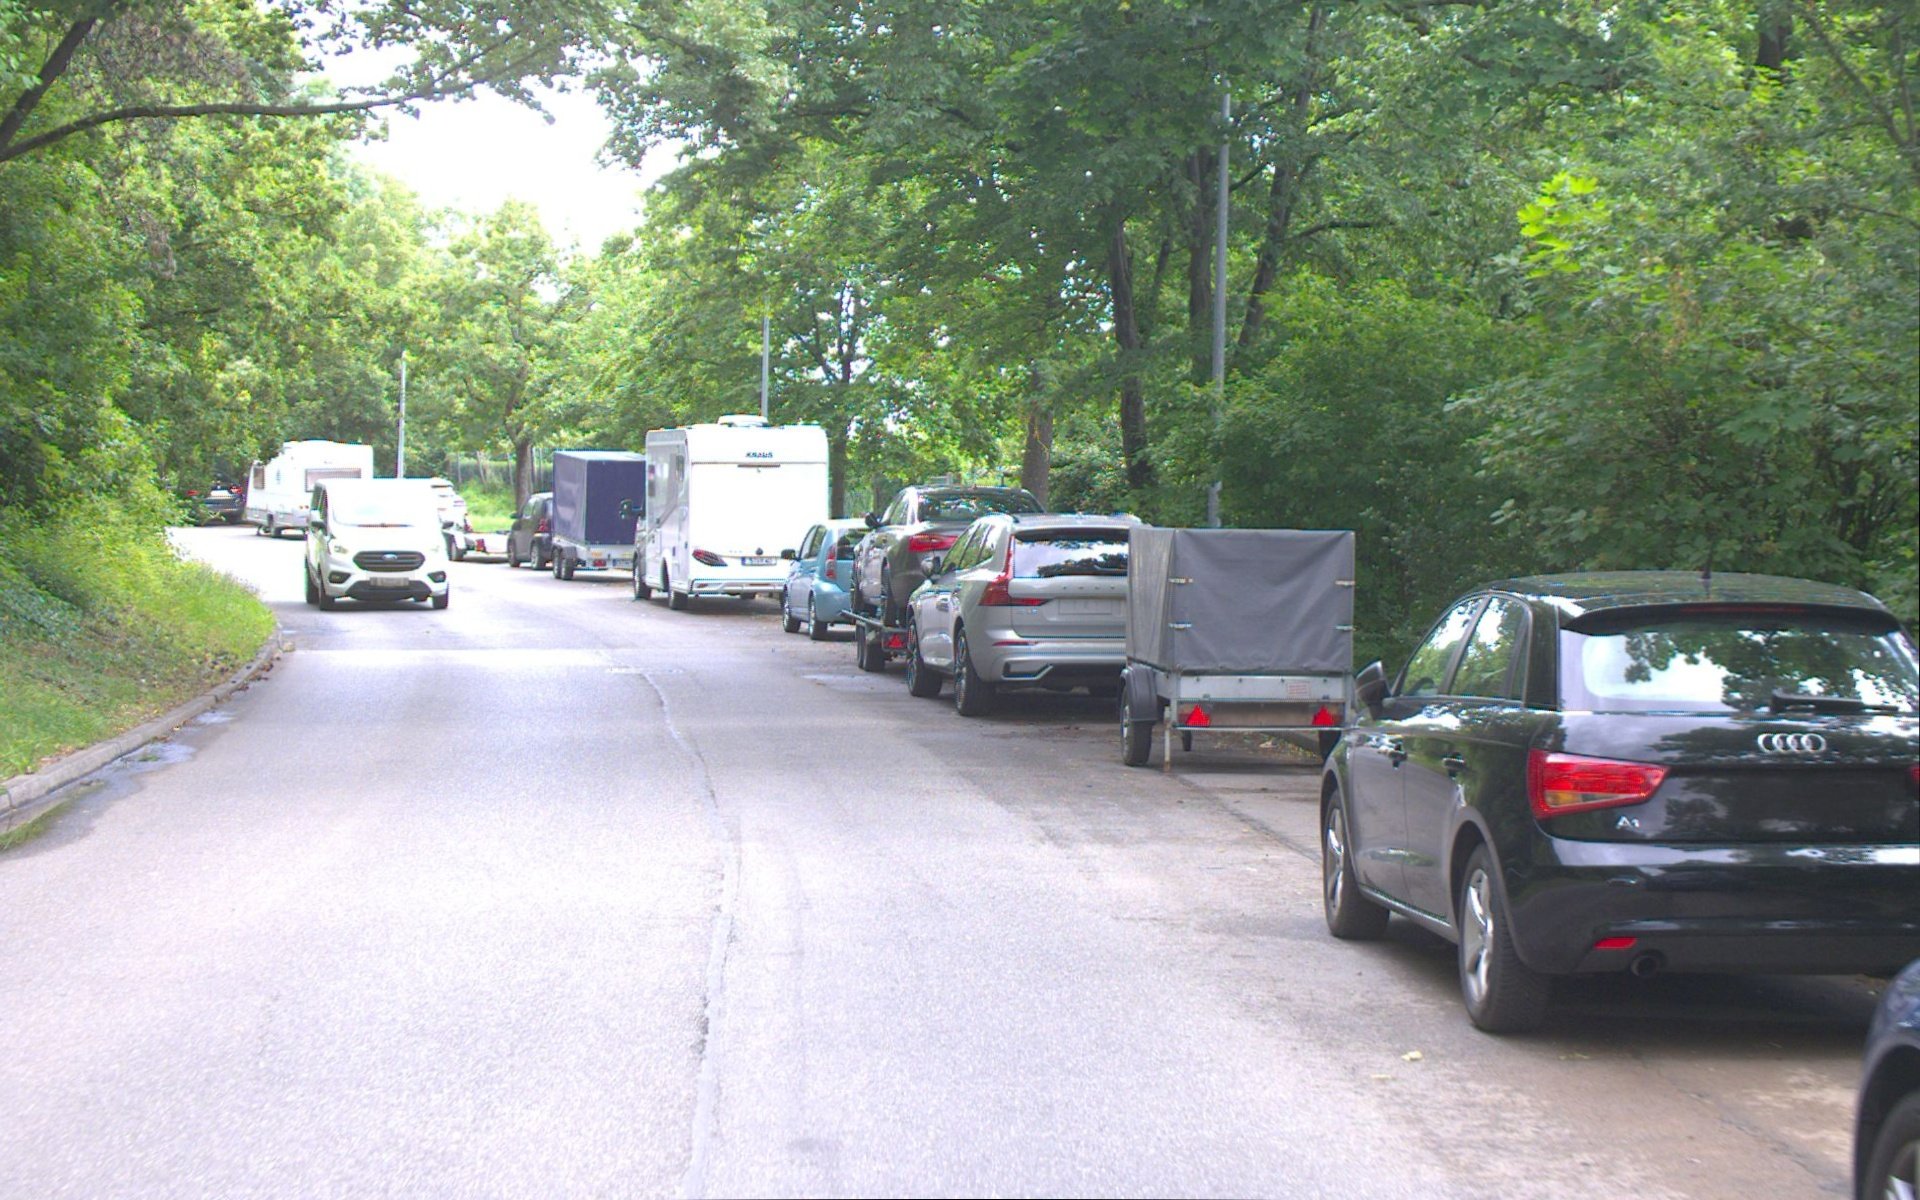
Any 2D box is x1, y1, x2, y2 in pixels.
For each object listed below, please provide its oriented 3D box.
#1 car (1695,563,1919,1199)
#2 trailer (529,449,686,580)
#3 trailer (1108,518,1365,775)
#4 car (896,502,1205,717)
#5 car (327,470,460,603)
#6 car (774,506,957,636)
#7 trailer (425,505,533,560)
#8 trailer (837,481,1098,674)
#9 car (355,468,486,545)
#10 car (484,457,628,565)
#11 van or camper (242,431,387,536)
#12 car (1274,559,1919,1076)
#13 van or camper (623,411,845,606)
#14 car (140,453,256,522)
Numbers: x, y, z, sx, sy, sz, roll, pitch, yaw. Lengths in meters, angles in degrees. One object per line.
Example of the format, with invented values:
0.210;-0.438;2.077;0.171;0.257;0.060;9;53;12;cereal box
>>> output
2.595;0.731;4.629;1.847;1.469;4.480;1;1;-5;car
-6.721;-1.636;65.210;1.993;2.390;4.001;1;2;-20;trailer
1.786;0.266;22.771;1.278;1.579;2.461;1;1;-5;trailer
0.675;0.069;29.152;1.791;1.664;4.503;1;0;-9;car
-8.922;-1.033;54.401;1.947;1.977;4.503;1;2;-8;car
-1.277;-0.412;44.567;1.799;1.556;3.837;0;2;-10;car
-10.397;-1.476;74.134;1.651;1.083;4.002;-1;3;-18;trailer
-0.015;-0.298;35.271;1.978;1.805;5.150;0;2;-8;trailer
-13.060;-2.279;83.057;2.034;1.797;4.084;0;2;-25;car
-8.313;-1.862;70.484;1.993;2.018;4.002;-2;4;-21;car
-17.078;-3.106;90.804;2.526;2.688;4.576;-1;3;-27;van or camper
2.313;0.622;11.983;1.720;1.448;3.918;1;1;-5;car
-3.701;-1.453;54.786;2.481;2.866;6.892;1;1;-12;van or camper
-22.123;-3.284;99.767;1.994;1.863;4.000;-2;4;-33;car
